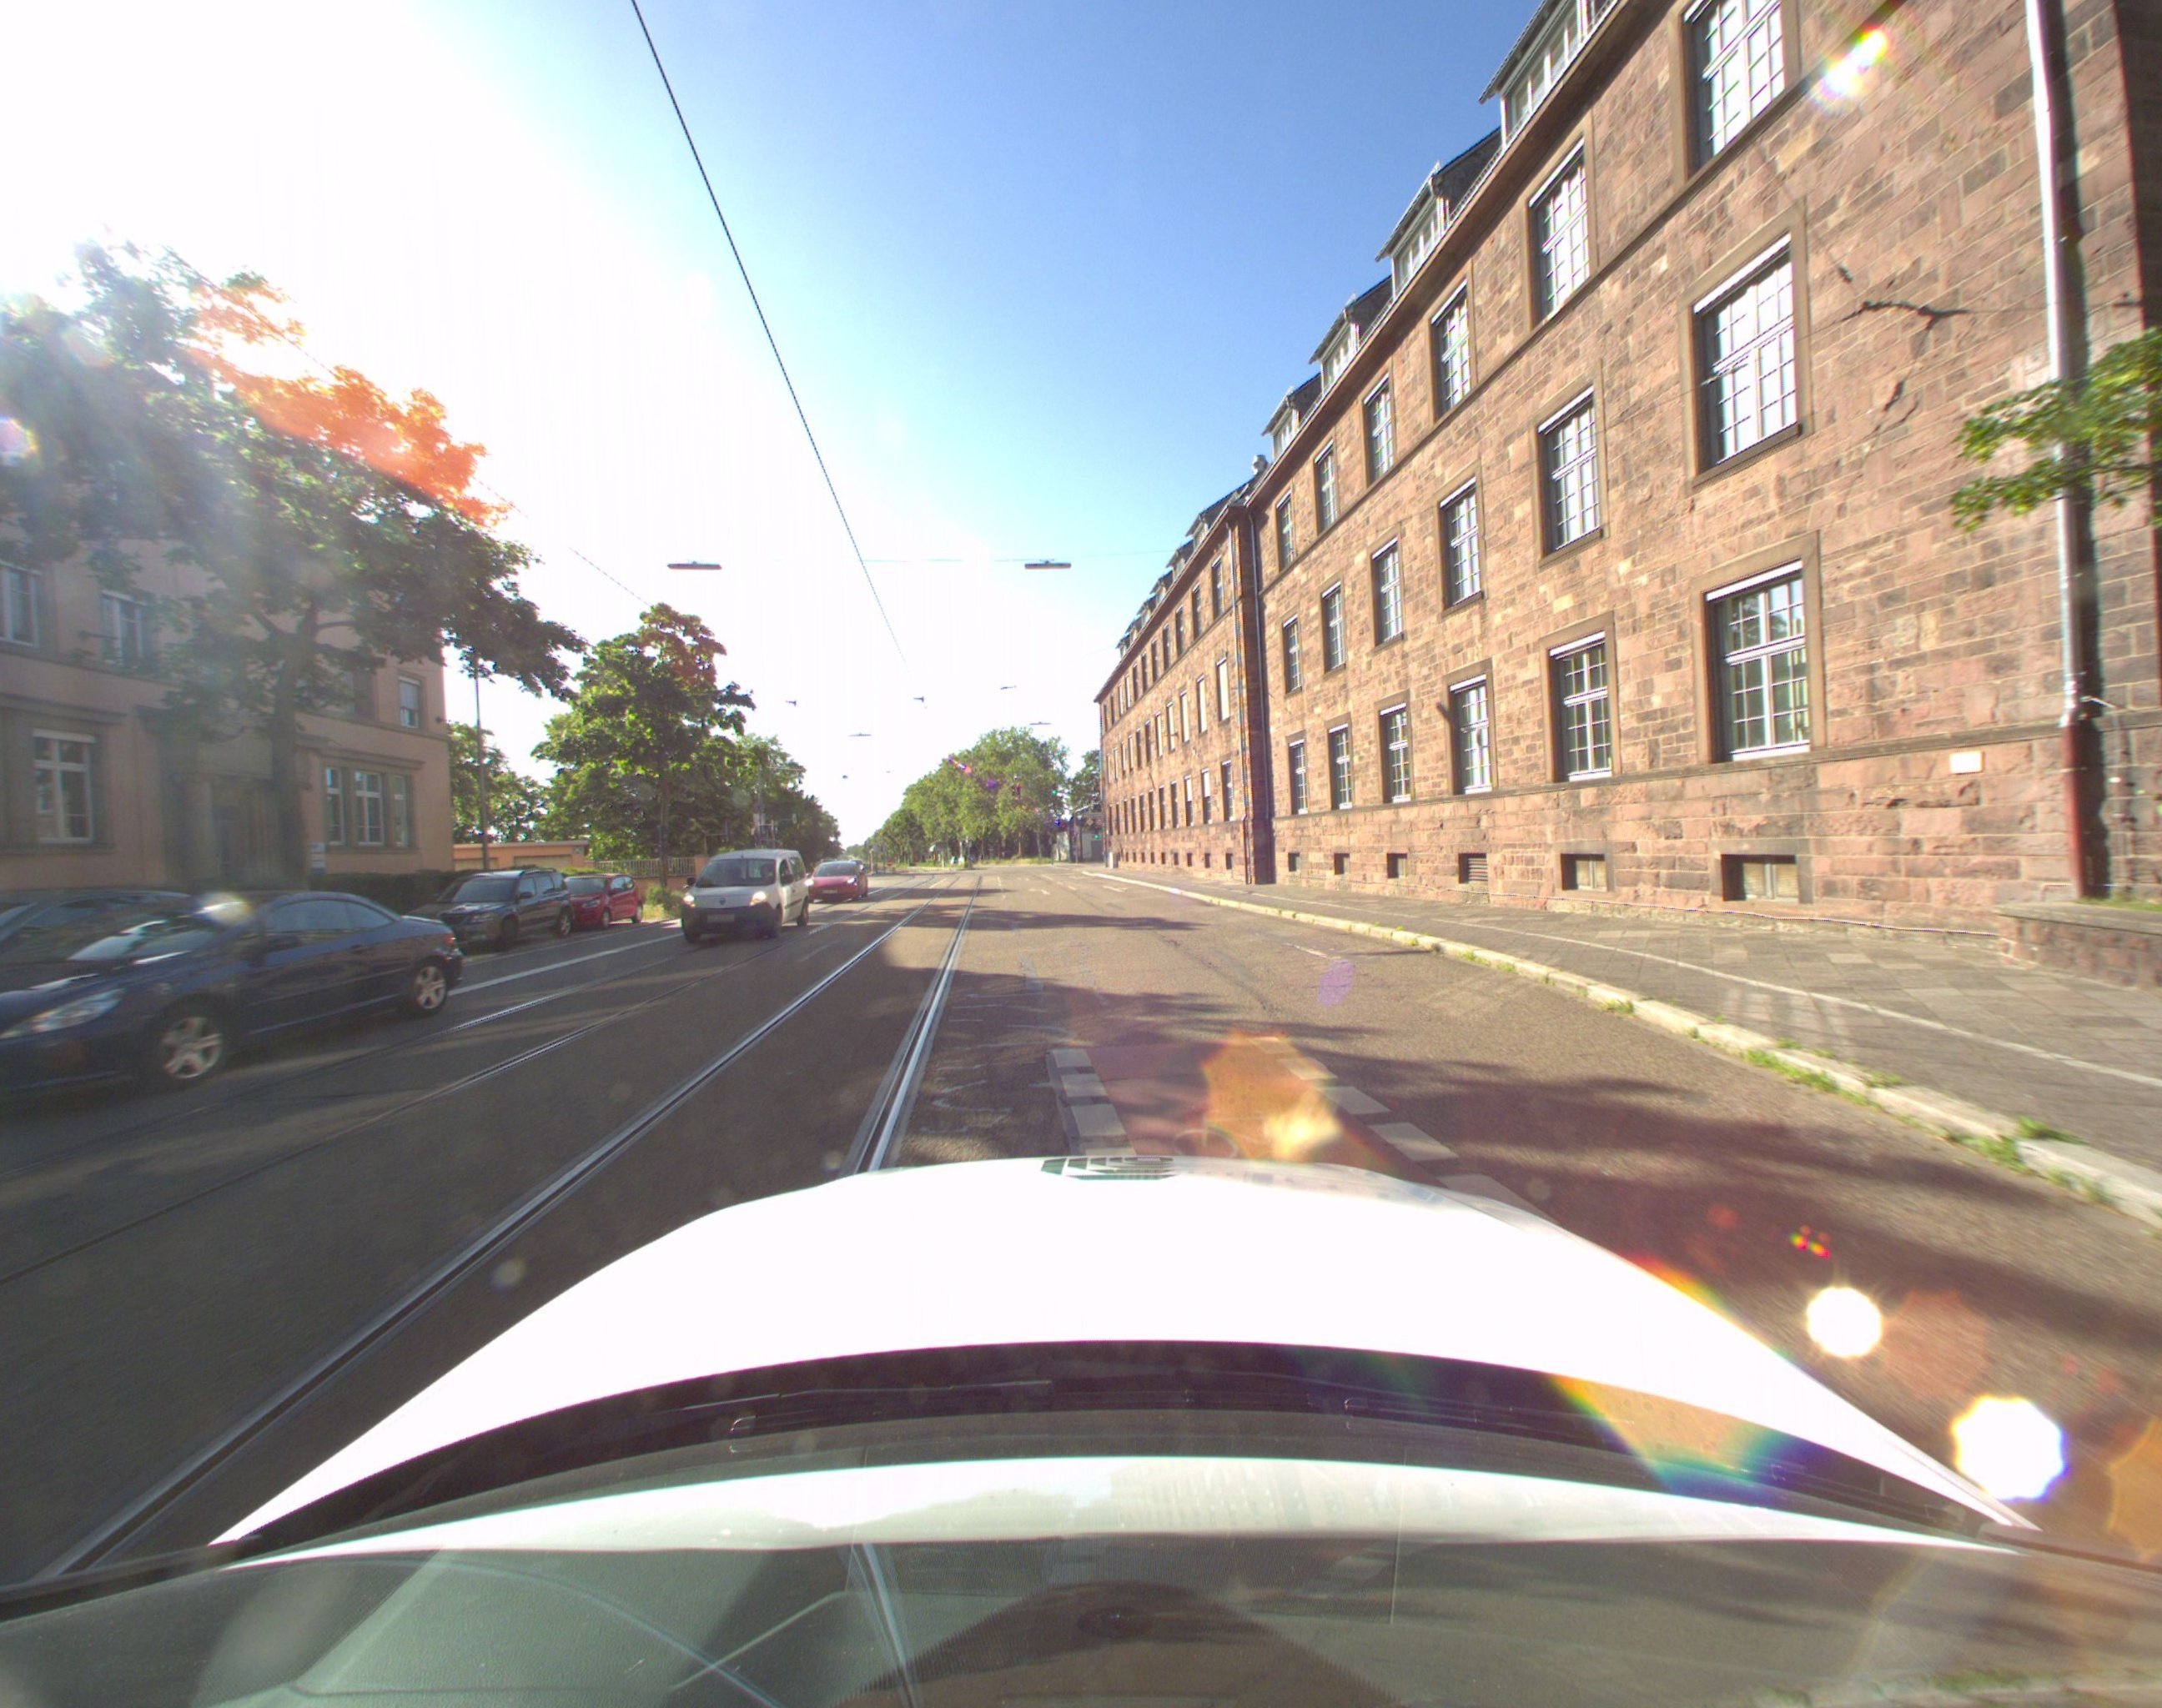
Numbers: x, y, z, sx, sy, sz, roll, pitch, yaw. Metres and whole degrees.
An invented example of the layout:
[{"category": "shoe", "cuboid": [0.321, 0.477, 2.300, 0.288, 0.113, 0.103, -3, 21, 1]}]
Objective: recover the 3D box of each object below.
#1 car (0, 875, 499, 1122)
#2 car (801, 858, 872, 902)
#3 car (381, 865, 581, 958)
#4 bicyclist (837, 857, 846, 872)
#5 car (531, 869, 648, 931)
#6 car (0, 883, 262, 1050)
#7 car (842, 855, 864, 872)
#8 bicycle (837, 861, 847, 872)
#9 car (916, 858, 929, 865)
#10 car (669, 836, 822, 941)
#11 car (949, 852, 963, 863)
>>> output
[{"category": "car", "cuboid": [-7.467, 0.983, 7.159, 1.808, 1.387, 4.430, -3, 0, -6]}, {"category": "car", "cuboid": [-9.014, 0.914, 30.435, 1.921, 1.387, 4.671, -3, 0, -10]}, {"category": "car", "cuboid": [-12.707, 1.111, 17.639, 1.746, 1.660, 4.374, 0, 0, -11]}, {"category": "bicyclist", "cuboid": [-24.098, 1.063, 82.057, 0.752, 1.504, 0.957, -3, 0, -22]}, {"category": "car", "cuboid": [-13.349, 1.186, 22.339, 1.582, 1.488, 3.599, 0, 0, -11]}, {"category": "car", "cuboid": [-11.897, 1.191, 9.127, 1.745, 1.569, 4.057, 0, 0, -9]}, {"category": "car", "cuboid": [-25.746, 1.061, 91.986, 2.000, 1.760, 3.973, -3, 0, -20]}, {"category": "bicycle", "cuboid": [-24.091, 1.278, 82.056, 0.752, 1.087, 2.161, -3, 0, -21]}, {"category": "car", "cuboid": [-37.381, 1.827, 192.442, 1.954, 1.610, 3.964, -3, 0, -27]}, {"category": "car", "cuboid": [-7.021, 0.644, 17.569, 1.808, 1.888, 4.430, -3, 0, -6]}, {"category": "car", "cuboid": [-20.269, 0.546, 132.305, 1.944, 1.610, 3.984, -3, 0, -12]}]
